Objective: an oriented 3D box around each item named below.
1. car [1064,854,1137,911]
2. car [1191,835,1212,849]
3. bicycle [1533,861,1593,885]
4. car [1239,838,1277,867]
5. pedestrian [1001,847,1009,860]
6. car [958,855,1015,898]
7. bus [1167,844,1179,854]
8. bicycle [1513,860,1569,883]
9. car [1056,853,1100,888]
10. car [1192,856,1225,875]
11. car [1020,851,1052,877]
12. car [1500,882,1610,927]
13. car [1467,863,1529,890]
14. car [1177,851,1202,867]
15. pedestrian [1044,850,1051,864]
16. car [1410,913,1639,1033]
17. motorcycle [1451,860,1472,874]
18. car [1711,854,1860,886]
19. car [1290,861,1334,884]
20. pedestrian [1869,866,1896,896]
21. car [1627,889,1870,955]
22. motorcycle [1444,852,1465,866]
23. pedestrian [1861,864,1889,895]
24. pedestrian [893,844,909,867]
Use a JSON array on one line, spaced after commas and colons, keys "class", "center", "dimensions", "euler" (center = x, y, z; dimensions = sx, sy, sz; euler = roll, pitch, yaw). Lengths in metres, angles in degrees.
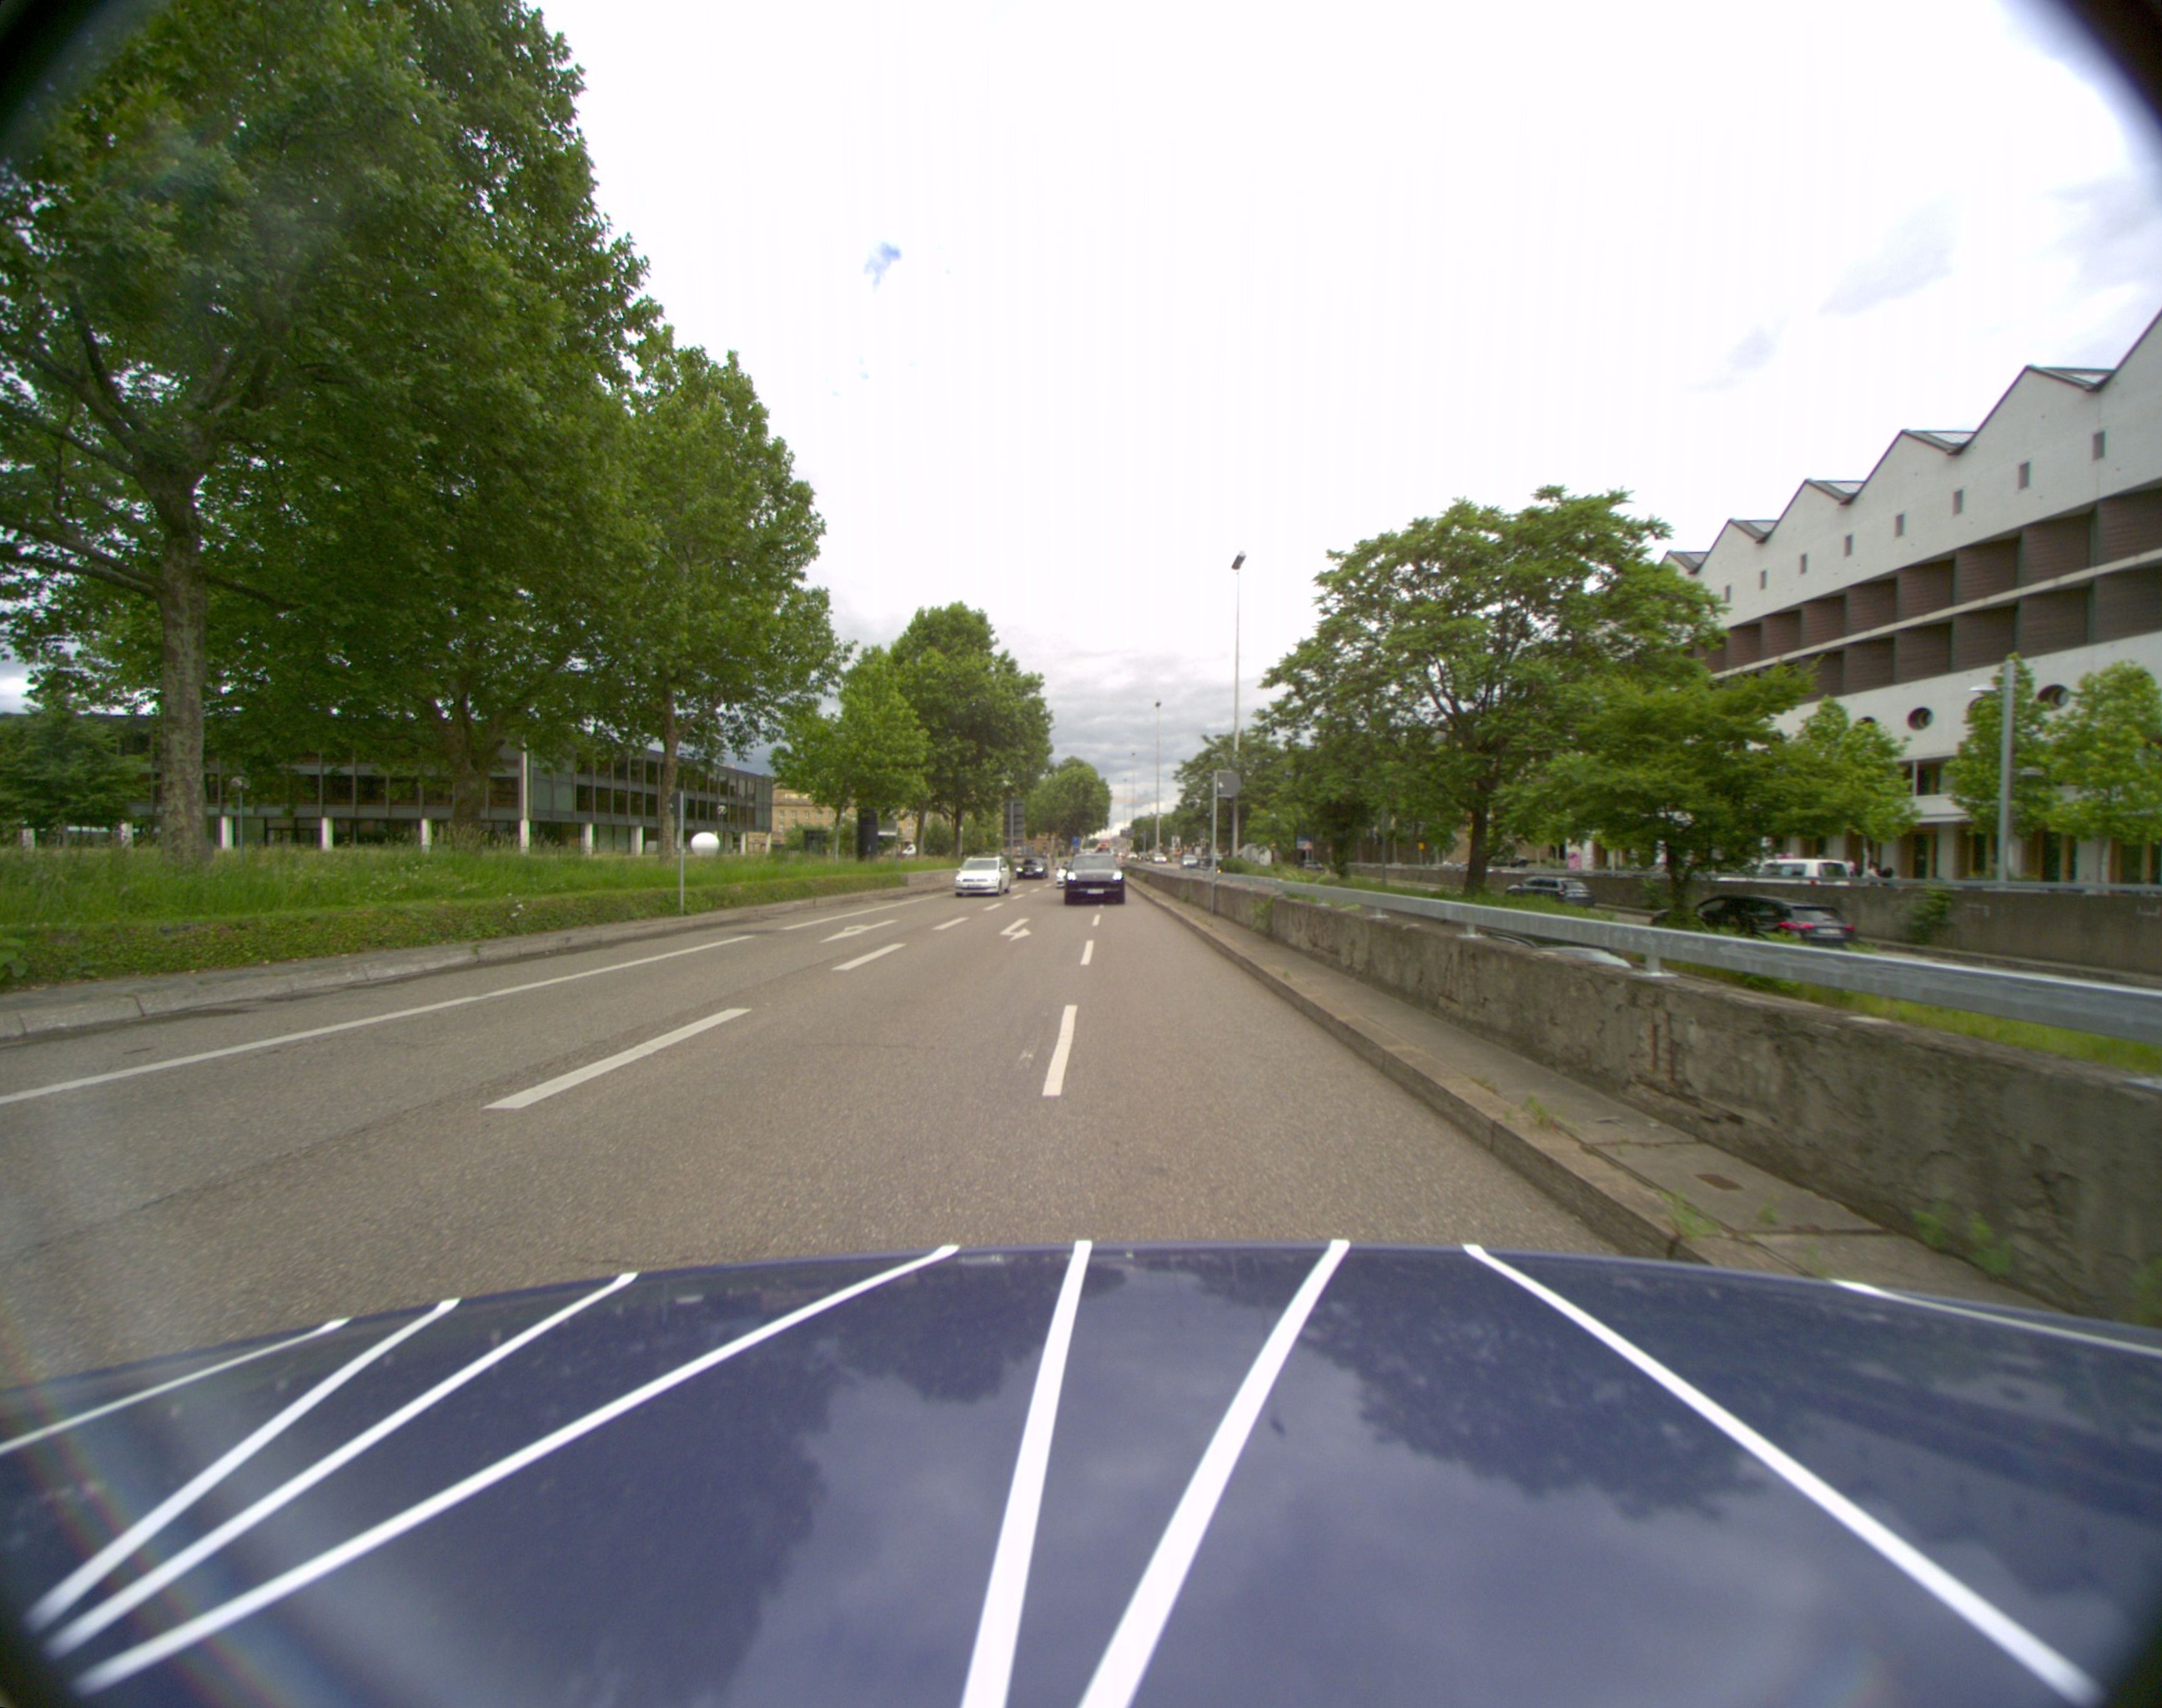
[{"class": "car", "center": [0.530, 0.849, 24.776], "dimensions": [2.062, 1.616, 4.600], "euler": [1, 0, -2]}, {"class": "car", "center": [14.879, -1.468, 94.189], "dimensions": [1.861, 1.707, 4.445], "euler": [1, 0, 0]}, {"class": "bicycle", "center": [35.746, 1.405, 56.367], "dimensions": [3.622, 1.674, 1.183], "euler": [1, 0, 0]}, {"class": "car", "center": [17.220, -0.210, 74.145], "dimensions": [2.330, 2.511, 6.056], "euler": [-2, 2, 1]}, {"class": "pedestrian", "center": [-9.357, -0.097, 93.714], "dimensions": [0.803, 1.617, 0.626], "euler": [1, 1, 9]}, {"class": "car", "center": [-3.901, 0.890, 31.950], "dimensions": [1.695, 1.585, 4.000], "euler": [0, 1, 3]}, {"class": "bus", "center": [30.535, -1.657, 252.155], "dimensions": [2.919, 3.286, 10.448], "euler": [1, 0, 0]}, {"class": "bicycle", "center": [35.478, 1.346, 58.633], "dimensions": [3.622, 1.674, 1.183], "euler": [1, 0, 0]}, {"class": "car", "center": [-0.221, 0.812, 39.541], "dimensions": [2.062, 1.616, 4.600], "euler": [-1, 0, -2]}, {"class": "car", "center": [10.528, 0.931, 63.103], "dimensions": [1.998, 1.474, 4.809], "euler": [0, 0, 0]}, {"class": "car", "center": [-3.099, 0.655, 52.661], "dimensions": [2.062, 1.616, 4.600], "euler": [-1, 0, -2]}, {"class": "car", "center": [20.630, 2.141, 33.350], "dimensions": [1.883, 1.529, 4.578], "euler": [-2, 1, -1]}, {"class": "car", "center": [29.279, 1.572, 53.508], "dimensions": [1.862, 1.707, 4.390], "euler": [1, 0, -2]}, {"class": "car", "center": [11.141, 0.477, 78.281], "dimensions": [1.998, 1.636, 4.000], "euler": [-1, 0, 1]}, {"class": "pedestrian", "center": [-4.101, 0.391, 93.253], "dimensions": [0.699, 1.646, 0.684], "euler": [-2, 1, 1]}, {"class": "car", "center": [8.045, 2.082, 14.316], "dimensions": [1.768, 1.507, 4.150], "euler": [-1, 1, -3]}, {"class": "motorcycle", "center": [34.824, 1.214, 69.563], "dimensions": [1.892, 1.227, 0.657], "euler": [0, 3, -24]}, {"class": "car", "center": [29.454, 0.625, 32.021], "dimensions": [1.814, 1.112, 4.807], "euler": [-2, 1, 0]}, {"class": "car", "center": [17.054, 1.338, 56.301], "dimensions": [1.906, 1.478, 3.998], "euler": [-2, 1, -3]}, {"class": "pedestrian", "center": [41.947, 1.407, 39.758], "dimensions": [0.636, 1.514, 0.909], "euler": [7, -3, -41]}, {"class": "car", "center": [17.134, 1.675, 19.924], "dimensions": [1.999, 1.136, 4.848], "euler": [-2, 1, -2]}, {"class": "motorcycle", "center": [34.830, 0.457, 70.880], "dimensions": [1.892, 1.227, 0.657], "euler": [0, 3, -24]}, {"class": "pedestrian", "center": [40.804, 1.315, 39.049], "dimensions": [0.636, 1.514, 0.909], "euler": [7, -2, -41]}, {"class": "pedestrian", "center": [-14.336, 0.131, 60.590], "dimensions": [1.029, 1.826, 0.999], "euler": [-2, 1, -5]}]
